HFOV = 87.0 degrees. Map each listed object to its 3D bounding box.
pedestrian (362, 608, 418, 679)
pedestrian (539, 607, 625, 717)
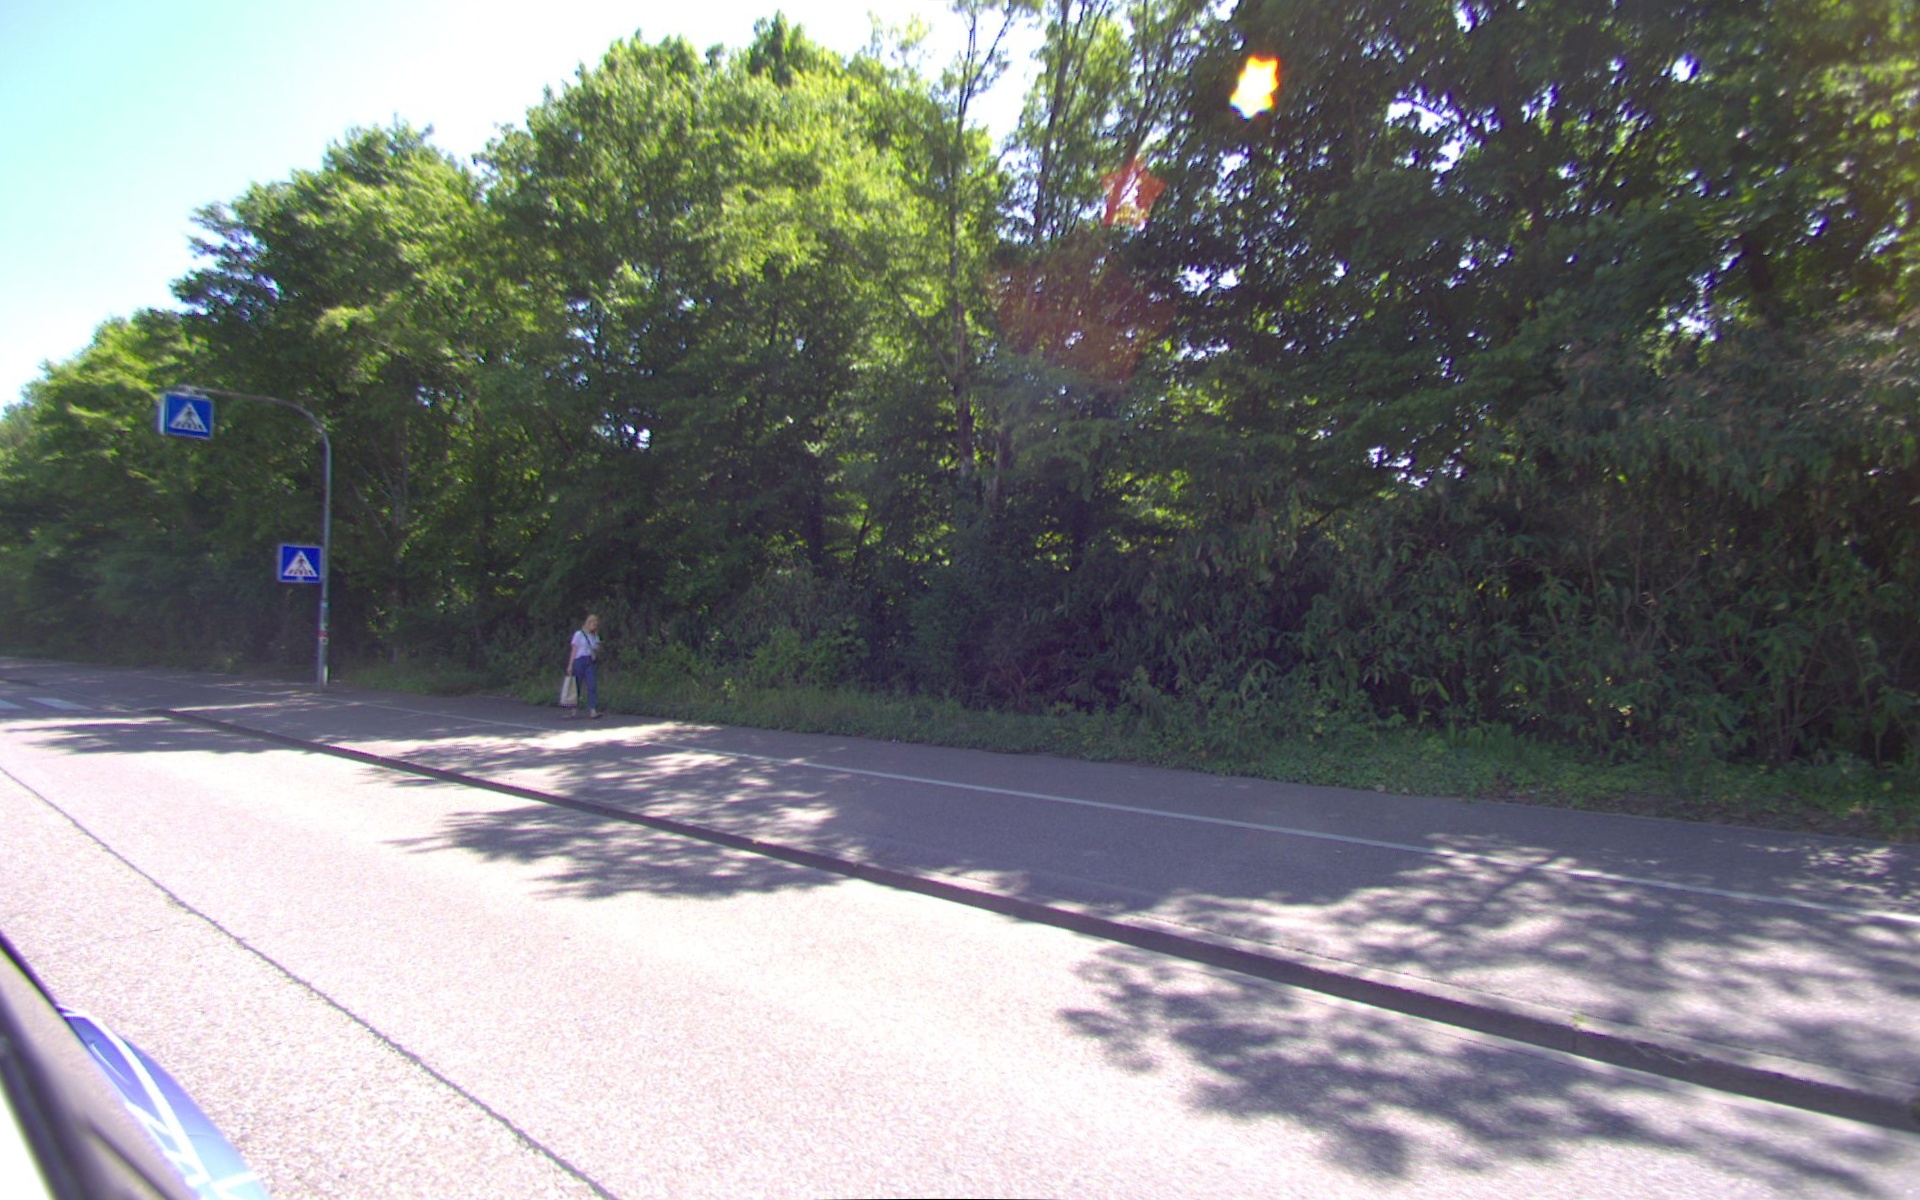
[{"bbox_3d":[-15.368,1.156,27.311,0.781,1.879,1.074,-1,-2,32],"label":"pedestrian"},{"bbox_3d":[-5.817,0.919,15.569,0.885,1.625,0.923,-1,-1,39],"label":"pedestrian"}]
